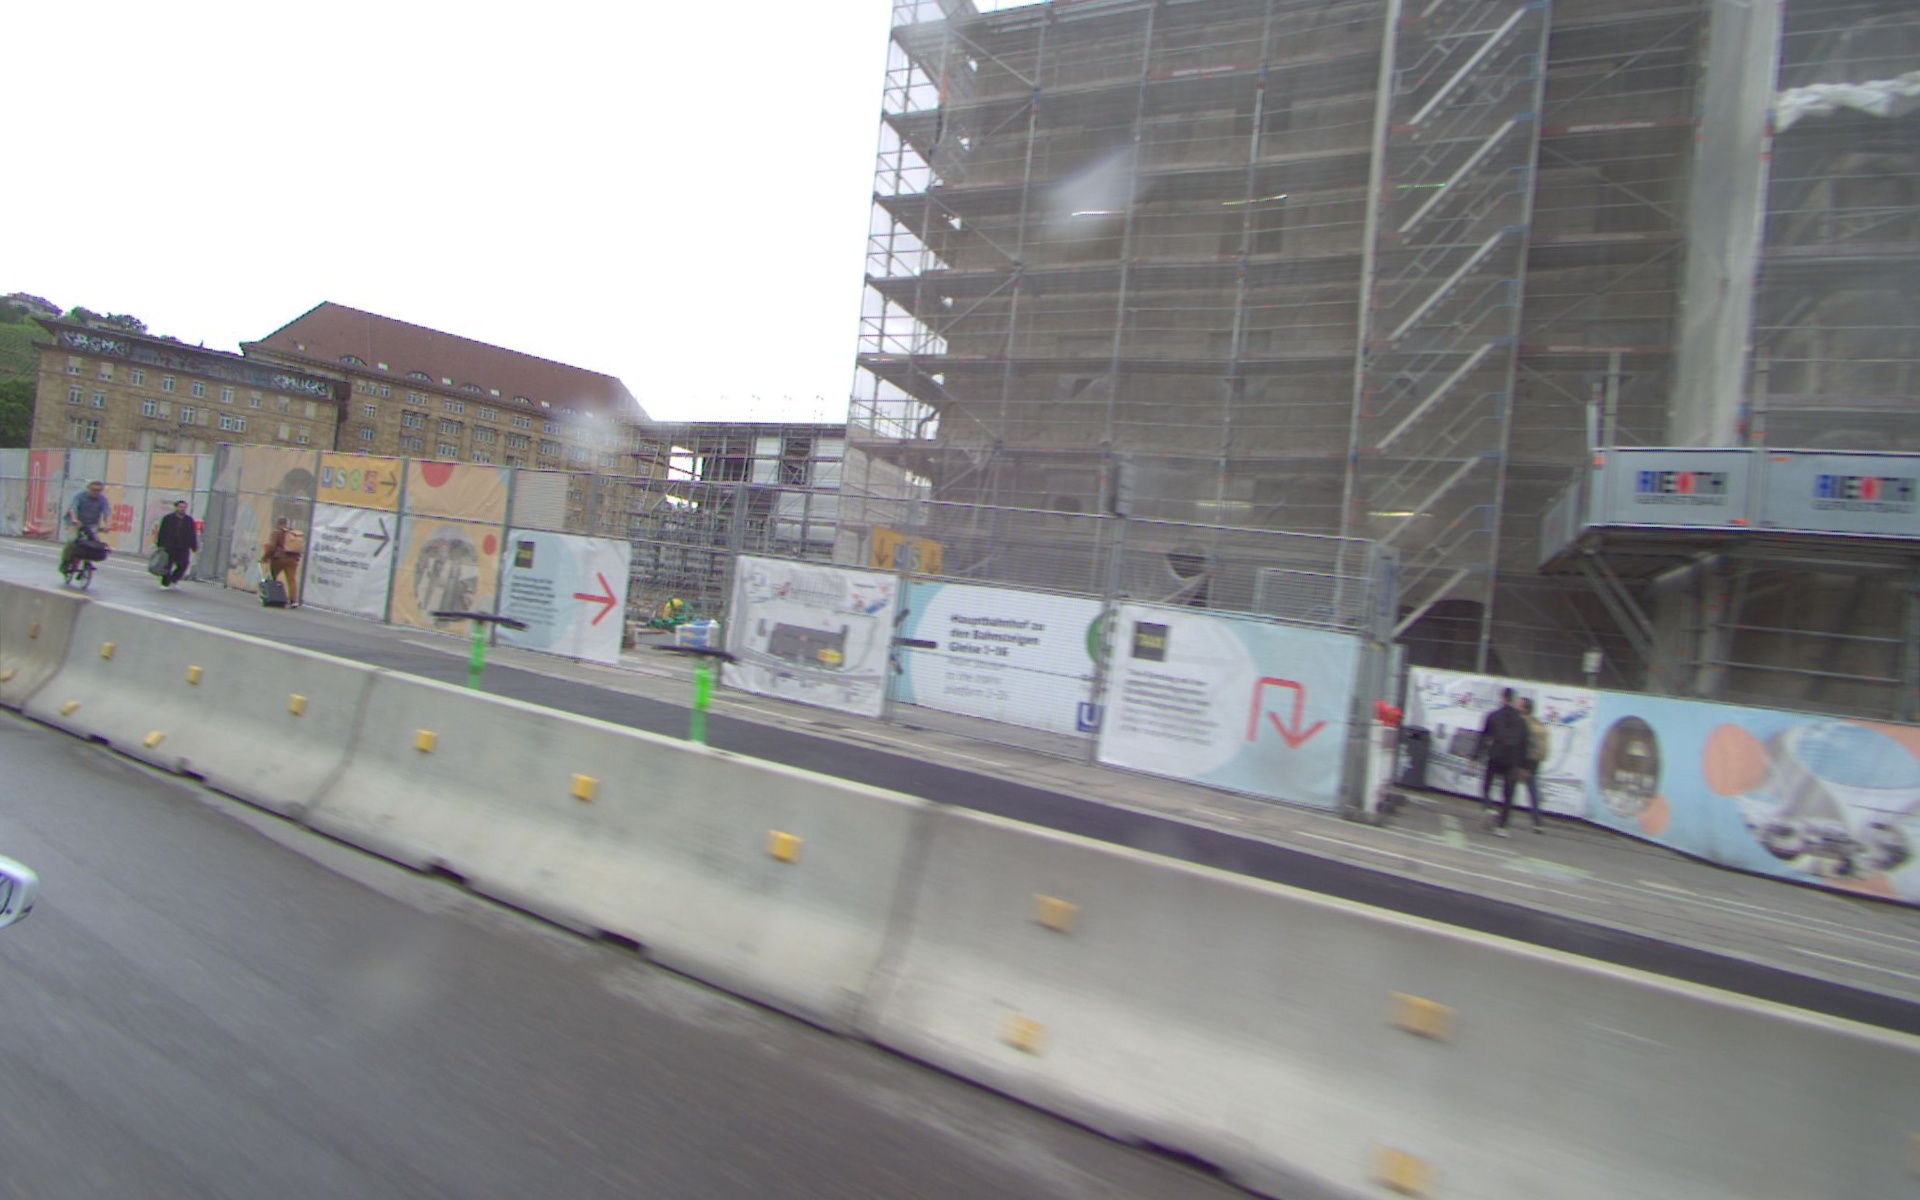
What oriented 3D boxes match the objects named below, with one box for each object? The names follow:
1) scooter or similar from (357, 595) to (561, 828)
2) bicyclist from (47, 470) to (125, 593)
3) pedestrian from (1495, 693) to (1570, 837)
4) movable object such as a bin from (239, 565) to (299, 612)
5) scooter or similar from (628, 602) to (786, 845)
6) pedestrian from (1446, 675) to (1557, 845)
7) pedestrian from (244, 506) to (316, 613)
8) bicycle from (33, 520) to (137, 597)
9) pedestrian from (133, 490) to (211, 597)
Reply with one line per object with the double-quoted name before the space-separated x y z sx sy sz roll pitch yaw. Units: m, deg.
"scooter or similar" -3.305 0.707 6.651 1.006 1.349 0.526 7 0 20
"bicyclist" -15.348 -1.186 17.673 0.589 2.038 0.727 7 0 32
"pedestrian" 7.633 2.171 13.444 0.638 1.777 0.815 6 0 26
"movable object such as a bin" -12.931 -0.214 18.825 0.765 0.743 0.598 6 -1 31
"scooter or similar" -1.608 0.736 6.319 0.489 1.349 1.015 7 -1 -35
"pedestrian" 6.455 1.889 11.992 0.995 1.871 0.669 7 0 -39
"pedestrian" -13.010 -0.773 19.253 0.643 1.918 0.768 7 0 32
"bicycle" -15.331 -0.740 17.615 1.948 1.125 0.767 6 -1 32
"pedestrian" -15.175 -1.086 19.376 0.651 1.918 0.850 7 0 31
